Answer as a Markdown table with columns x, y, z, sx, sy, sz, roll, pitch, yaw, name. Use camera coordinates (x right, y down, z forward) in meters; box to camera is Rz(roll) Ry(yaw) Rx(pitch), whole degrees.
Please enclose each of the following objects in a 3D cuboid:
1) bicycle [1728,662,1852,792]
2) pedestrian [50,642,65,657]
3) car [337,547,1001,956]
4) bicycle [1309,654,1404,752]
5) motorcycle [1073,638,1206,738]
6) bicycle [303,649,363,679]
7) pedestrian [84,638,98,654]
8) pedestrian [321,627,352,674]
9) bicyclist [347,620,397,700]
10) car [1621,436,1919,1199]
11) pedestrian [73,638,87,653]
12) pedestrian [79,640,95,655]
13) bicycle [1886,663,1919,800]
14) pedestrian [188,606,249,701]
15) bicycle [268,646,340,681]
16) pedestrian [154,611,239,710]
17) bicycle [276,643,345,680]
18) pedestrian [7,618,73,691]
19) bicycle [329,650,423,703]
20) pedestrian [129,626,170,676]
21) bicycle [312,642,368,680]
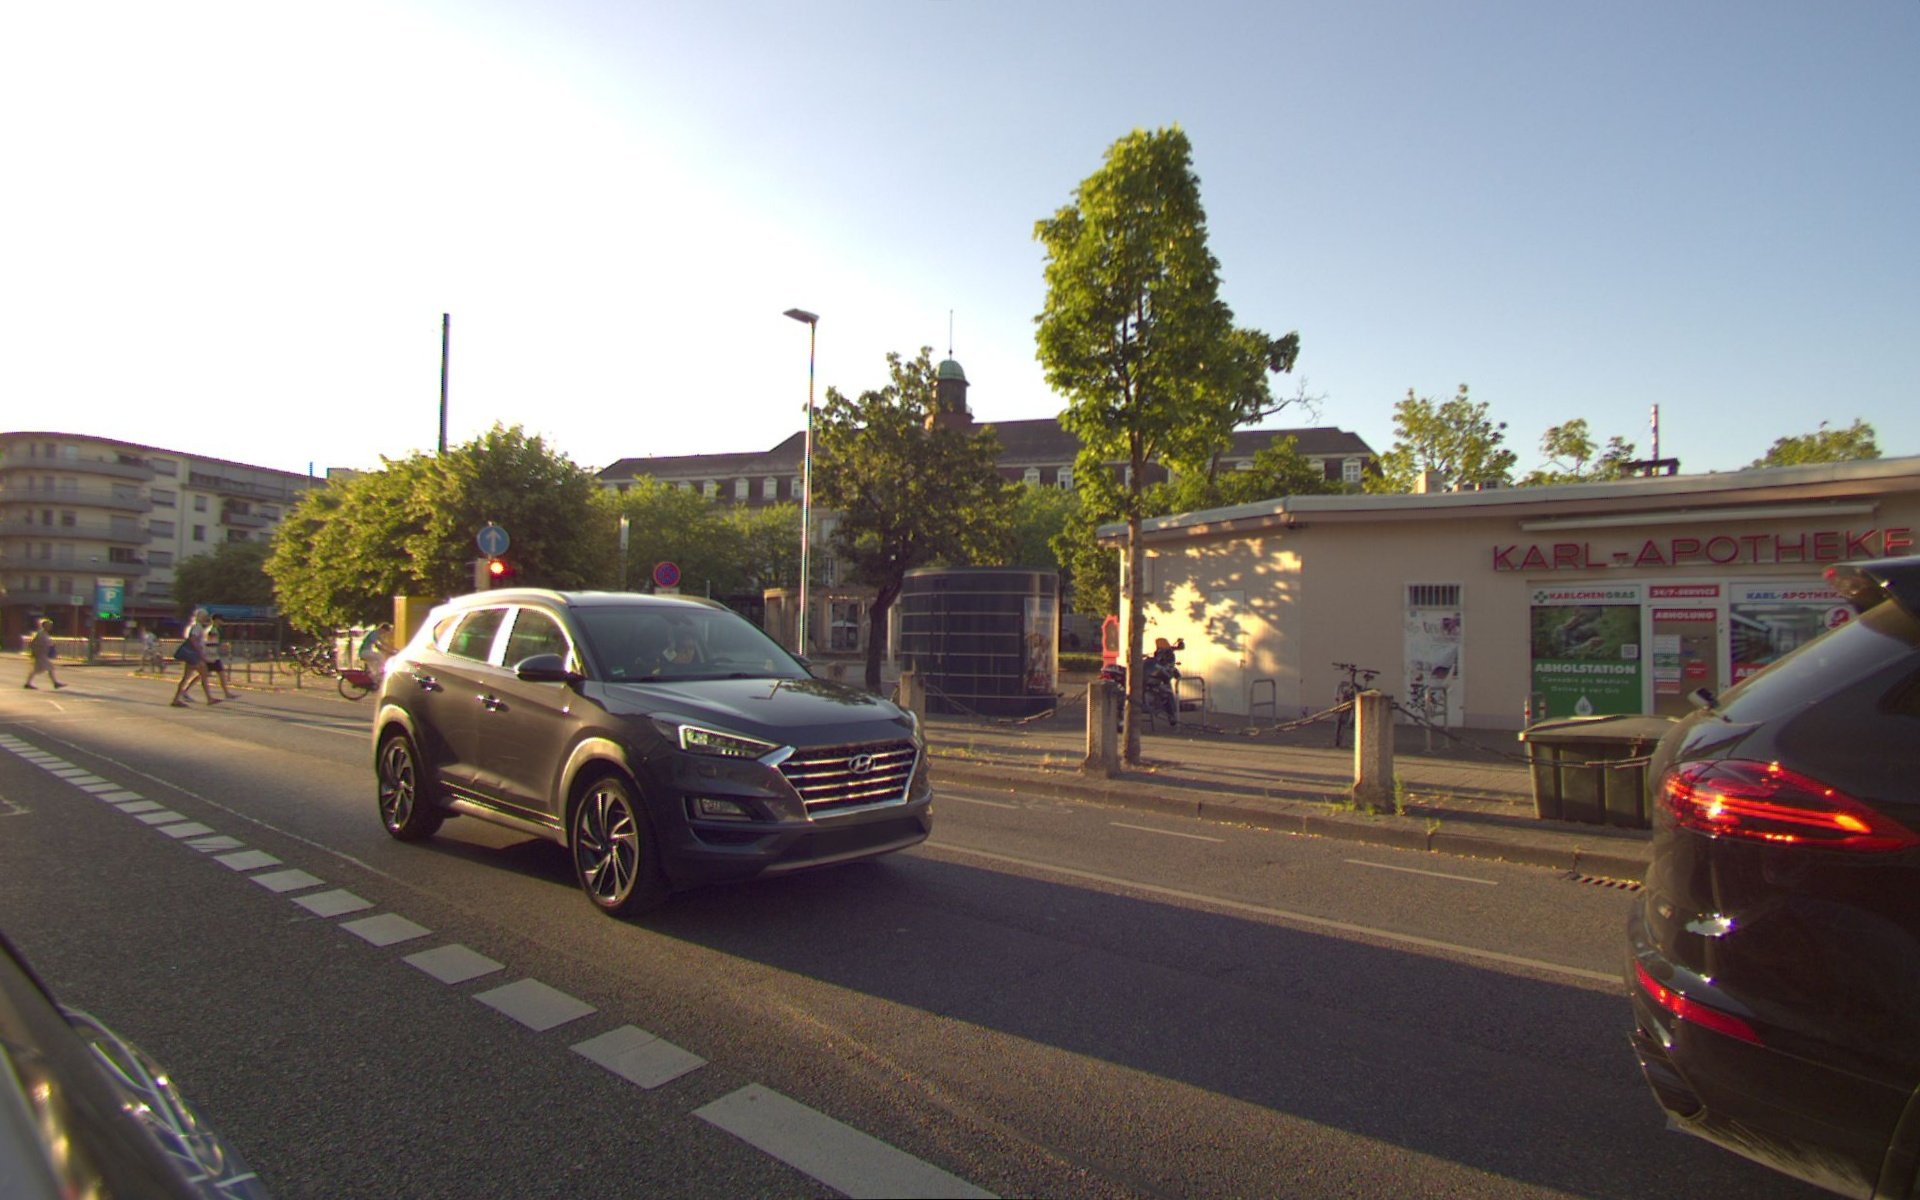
| x | y | z | sx | sy | sz | roll | pitch | yaw | name |
| --- | --- | --- | --- | --- | --- | --- | --- | --- | --- |
| 9.088 | 1.320 | 11.058 | 0.949 | 1.266 | 1.984 | -2 | -4 | 41 | bicycle |
| -74.842 | 4.114 | 83.959 | 0.875 | 1.201 | 0.734 | 2 | -4 | -40 | pedestrian |
| -2.059 | 0.738 | 6.393 | 4.446 | 1.702 | 1.853 | -2 | -5 | 40 | car |
| 5.519 | 1.387 | 14.029 | 0.632 | 1.266 | 1.834 | -2 | -4 | 41 | bicycle |
| 2.862 | 1.344 | 15.857 | 0.868 | 1.440 | 2.554 | -2 | -4 | 41 | motorcycle |
| -21.490 | 2.178 | 34.723 | 0.548 | 0.986 | 1.658 | -2 | -2 | 36 | bicycle |
| -74.512 | 3.945 | 86.761 | 0.887 | 1.332 | 0.723 | -2 | -3 | 38 | pedestrian |
| -24.657 | 1.993 | 39.998 | 0.858 | 1.831 | 0.827 | 3 | -4 | -40 | pedestrian |
| -13.710 | 1.396 | 23.621 | 0.821 | 1.840 | 0.833 | 2 | -3 | -21 | bicyclist |
| 3.734 | 0.569 | 1.368 | 4.557 | 1.727 | 1.929 | -2 | -4 | 40 | car |
| -74.991 | 3.885 | 86.197 | 0.888 | 1.332 | 0.723 | -2 | -3 | 39 | pedestrian |
| -74.865 | 4.086 | 86.782 | 0.814 | 1.332 | 0.684 | -1 | -3 | 16 | pedestrian |
| 9.940 | 1.280 | 10.213 | 0.787 | 1.266 | 2.418 | -2 | -4 | 41 | bicycle |
| -15.377 | 1.107 | 20.989 | 0.925 | 1.912 | 0.827 | 3 | -4 | -38 | pedestrian |
| -22.483 | 2.151 | 34.733 | 0.548 | 1.143 | 2.007 | -2 | -2 | 36 | bicycle |
| -14.289 | 1.125 | 18.954 | 0.826 | 1.788 | 1.085 | -2 | -4 | 44 | pedestrian |
| -23.297 | 2.185 | 36.331 | 0.548 | 1.262 | 2.007 | -2 | -2 | 36 | bicycle |
| -21.442 | 1.264 | 23.606 | 0.779 | 1.666 | 0.781 | 1 | -3 | -7 | pedestrian |
| -13.602 | 1.768 | 23.620 | 1.794 | 1.195 | 0.796 | 2 | -3 | -25 | bicycle |
| -30.559 | 1.922 | 38.167 | 0.936 | 1.831 | 0.828 | 2 | -3 | -22 | pedestrian |
| -21.144 | 2.067 | 34.541 | 0.444 | 1.262 | 1.571 | -2 | -2 | 38 | bicycle |
